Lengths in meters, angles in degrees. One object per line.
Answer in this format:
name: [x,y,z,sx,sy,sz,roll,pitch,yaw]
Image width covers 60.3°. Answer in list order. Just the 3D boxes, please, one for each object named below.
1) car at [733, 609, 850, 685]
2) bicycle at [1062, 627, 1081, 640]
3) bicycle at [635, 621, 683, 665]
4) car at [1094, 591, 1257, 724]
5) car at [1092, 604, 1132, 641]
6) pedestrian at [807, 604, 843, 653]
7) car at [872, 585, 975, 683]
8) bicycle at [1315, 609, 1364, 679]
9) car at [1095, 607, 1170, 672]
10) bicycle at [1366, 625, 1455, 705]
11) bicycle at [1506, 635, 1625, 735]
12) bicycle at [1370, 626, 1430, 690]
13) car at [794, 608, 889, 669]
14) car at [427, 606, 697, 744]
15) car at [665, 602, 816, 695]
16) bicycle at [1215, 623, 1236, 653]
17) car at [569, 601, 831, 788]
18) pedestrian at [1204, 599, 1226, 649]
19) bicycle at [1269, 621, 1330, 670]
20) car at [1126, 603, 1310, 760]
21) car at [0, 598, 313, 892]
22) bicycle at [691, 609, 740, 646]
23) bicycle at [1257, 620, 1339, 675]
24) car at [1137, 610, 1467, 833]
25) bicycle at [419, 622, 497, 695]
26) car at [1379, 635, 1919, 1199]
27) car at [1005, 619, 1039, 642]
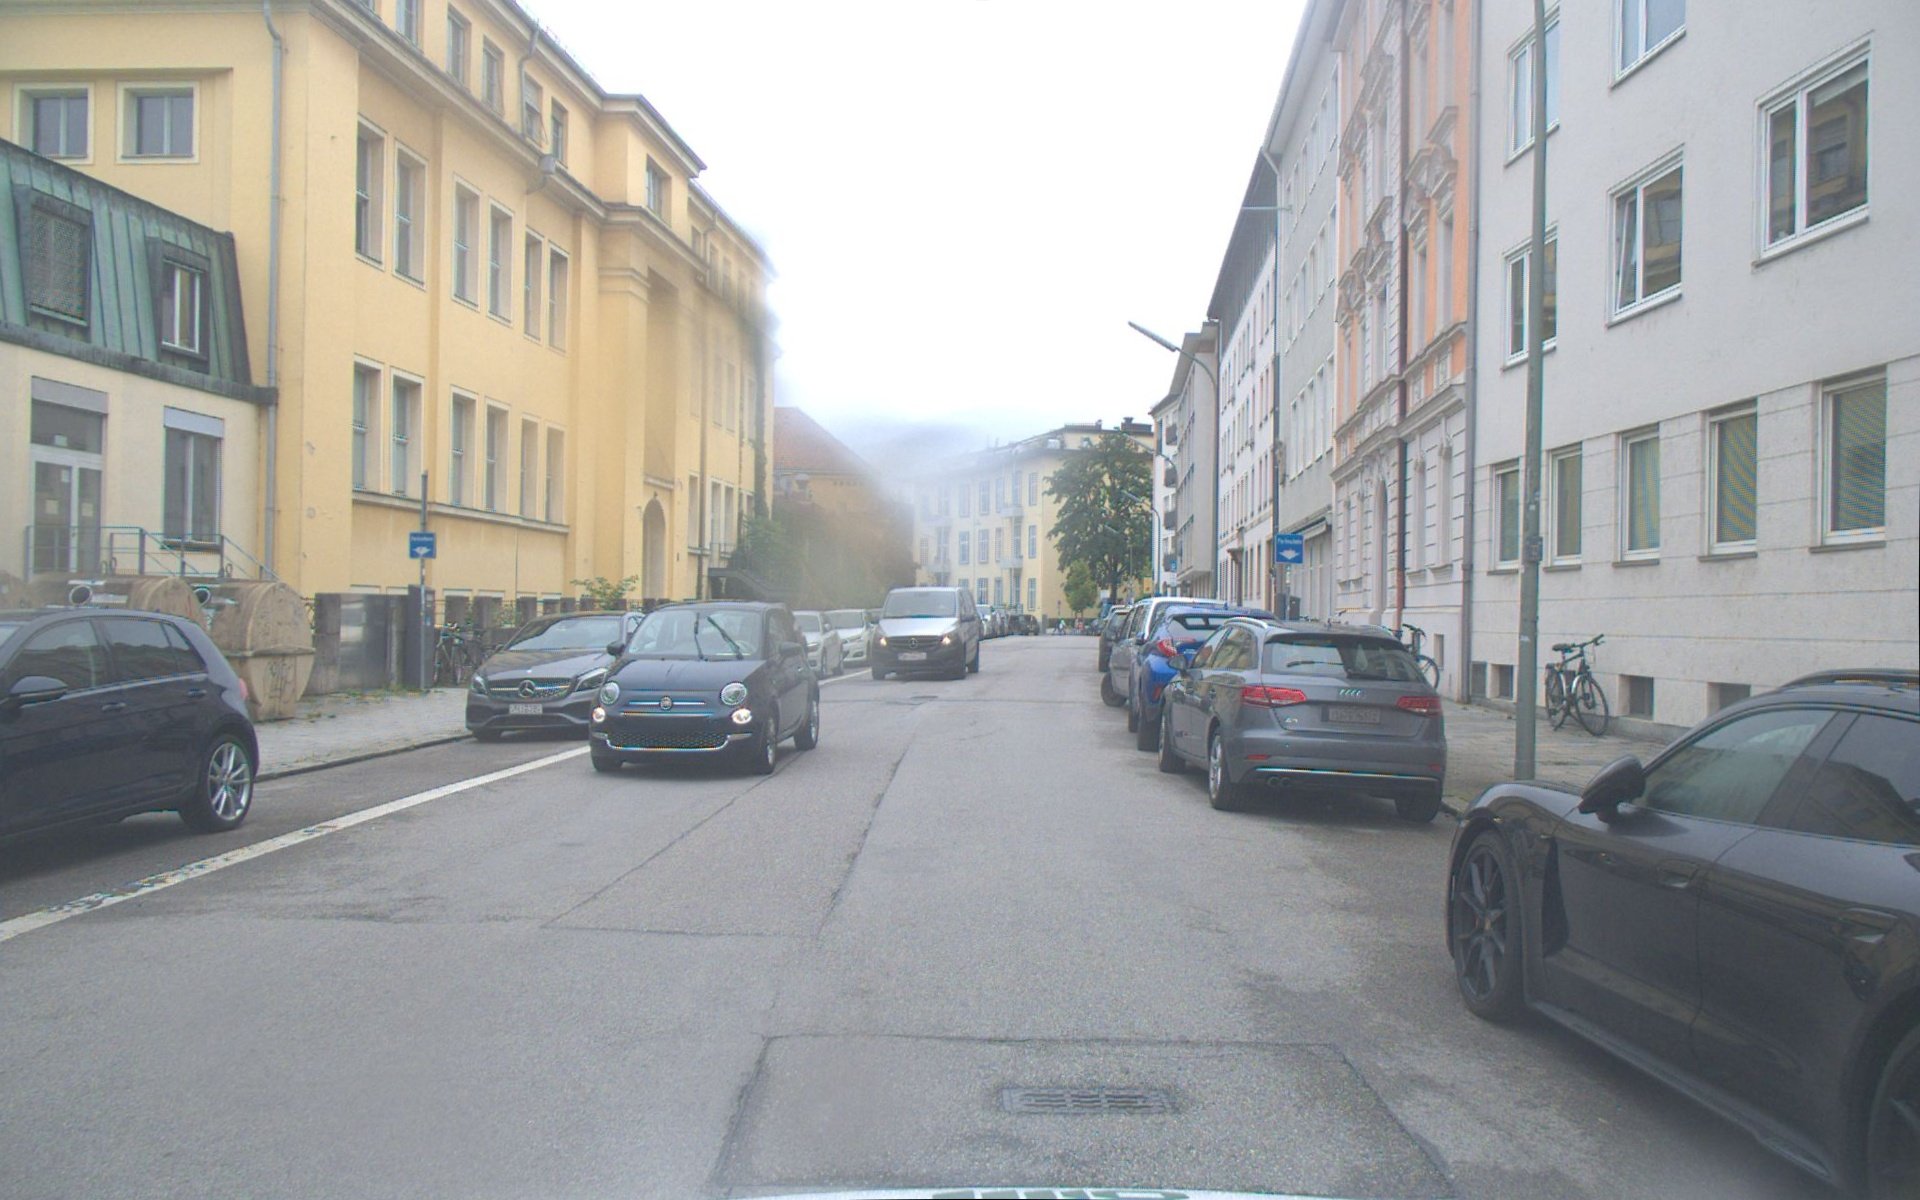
car: [-3.563,0.995,35.717,1.756,1.454,4.666,-3,-1,3]
bicycle: [10.490,3.157,155.626,1.894,1.222,0.592,0,-1,42]
bicycle: [-7.545,1.081,41.534,0.526,1.081,1.641,1,-1,15]
car: [3.046,0.786,24.047,1.647,1.702,3.802,2,-1,-3]
car: [10.811,1.654,117.975,2.037,2.272,5.242,5,-3,-1]
pedestrian: [-4.793,1.013,58.867,0.883,1.749,1.059,-1,-1,21]
car: [-0.689,0.702,34.827,1.876,1.881,5.321,0,-1,2]
bicycle: [7.801,0.882,34.073,0.583,1.409,2.092,0,0,2]
car: [4.163,0.939,39.817,1.652,1.426,4.366,1,-1,6]
bicycle: [6.810,0.961,25.123,0.708,1.132,1.993,1,0,-3]
bicycle: [7.164,0.977,19.665,0.518,1.090,1.998,1,0,-5]
bicycle: [7.537,0.976,28.384,0.583,1.042,1.818,0,0,2]
car: [-3.032,0.986,43.284,1.747,1.457,4.654,1,-1,5]
car: [-4.715,0.863,20.363,1.972,1.443,4.617,-2,-1,3]
car: [-3.893,0.855,30.033,1.917,1.508,4.530,-2,-1,2]
bicycle: [11.232,1.596,69.921,0.502,1.243,1.988,1,-1,-2]
car: [-2.301,0.779,15.526,1.626,1.500,3.710,1,0,4]
pedestrian: [9.413,0.900,61.028,0.707,1.794,0.905,1,-3,5]
bicycle: [7.854,1.035,38.223,0.610,1.108,1.805,0,-1,39]
car: [2.799,0.835,18.756,1.705,1.520,4.550,1,-1,5]
car: [-5.772,0.782,9.611,1.873,1.508,4.534,-2,0,5]
bicycle: [-8.487,0.959,57.427,1.591,1.290,0.527,0,-1,6]
bicycle: [7.369,1.024,35.968,2.071,1.159,0.576,0,-1,-39]
car: [2.673,0.877,13.960,1.671,1.479,4.400,4,0,-2]
bicycle: [-8.709,0.997,28.781,0.524,1.206,2.107,1,-1,5]
car: [2.956,0.864,5.035,1.915,1.439,5.111,1,-1,-2]
car: [5.792,2.850,155.067,1.735,1.907,4.358,5,-2,-17]
